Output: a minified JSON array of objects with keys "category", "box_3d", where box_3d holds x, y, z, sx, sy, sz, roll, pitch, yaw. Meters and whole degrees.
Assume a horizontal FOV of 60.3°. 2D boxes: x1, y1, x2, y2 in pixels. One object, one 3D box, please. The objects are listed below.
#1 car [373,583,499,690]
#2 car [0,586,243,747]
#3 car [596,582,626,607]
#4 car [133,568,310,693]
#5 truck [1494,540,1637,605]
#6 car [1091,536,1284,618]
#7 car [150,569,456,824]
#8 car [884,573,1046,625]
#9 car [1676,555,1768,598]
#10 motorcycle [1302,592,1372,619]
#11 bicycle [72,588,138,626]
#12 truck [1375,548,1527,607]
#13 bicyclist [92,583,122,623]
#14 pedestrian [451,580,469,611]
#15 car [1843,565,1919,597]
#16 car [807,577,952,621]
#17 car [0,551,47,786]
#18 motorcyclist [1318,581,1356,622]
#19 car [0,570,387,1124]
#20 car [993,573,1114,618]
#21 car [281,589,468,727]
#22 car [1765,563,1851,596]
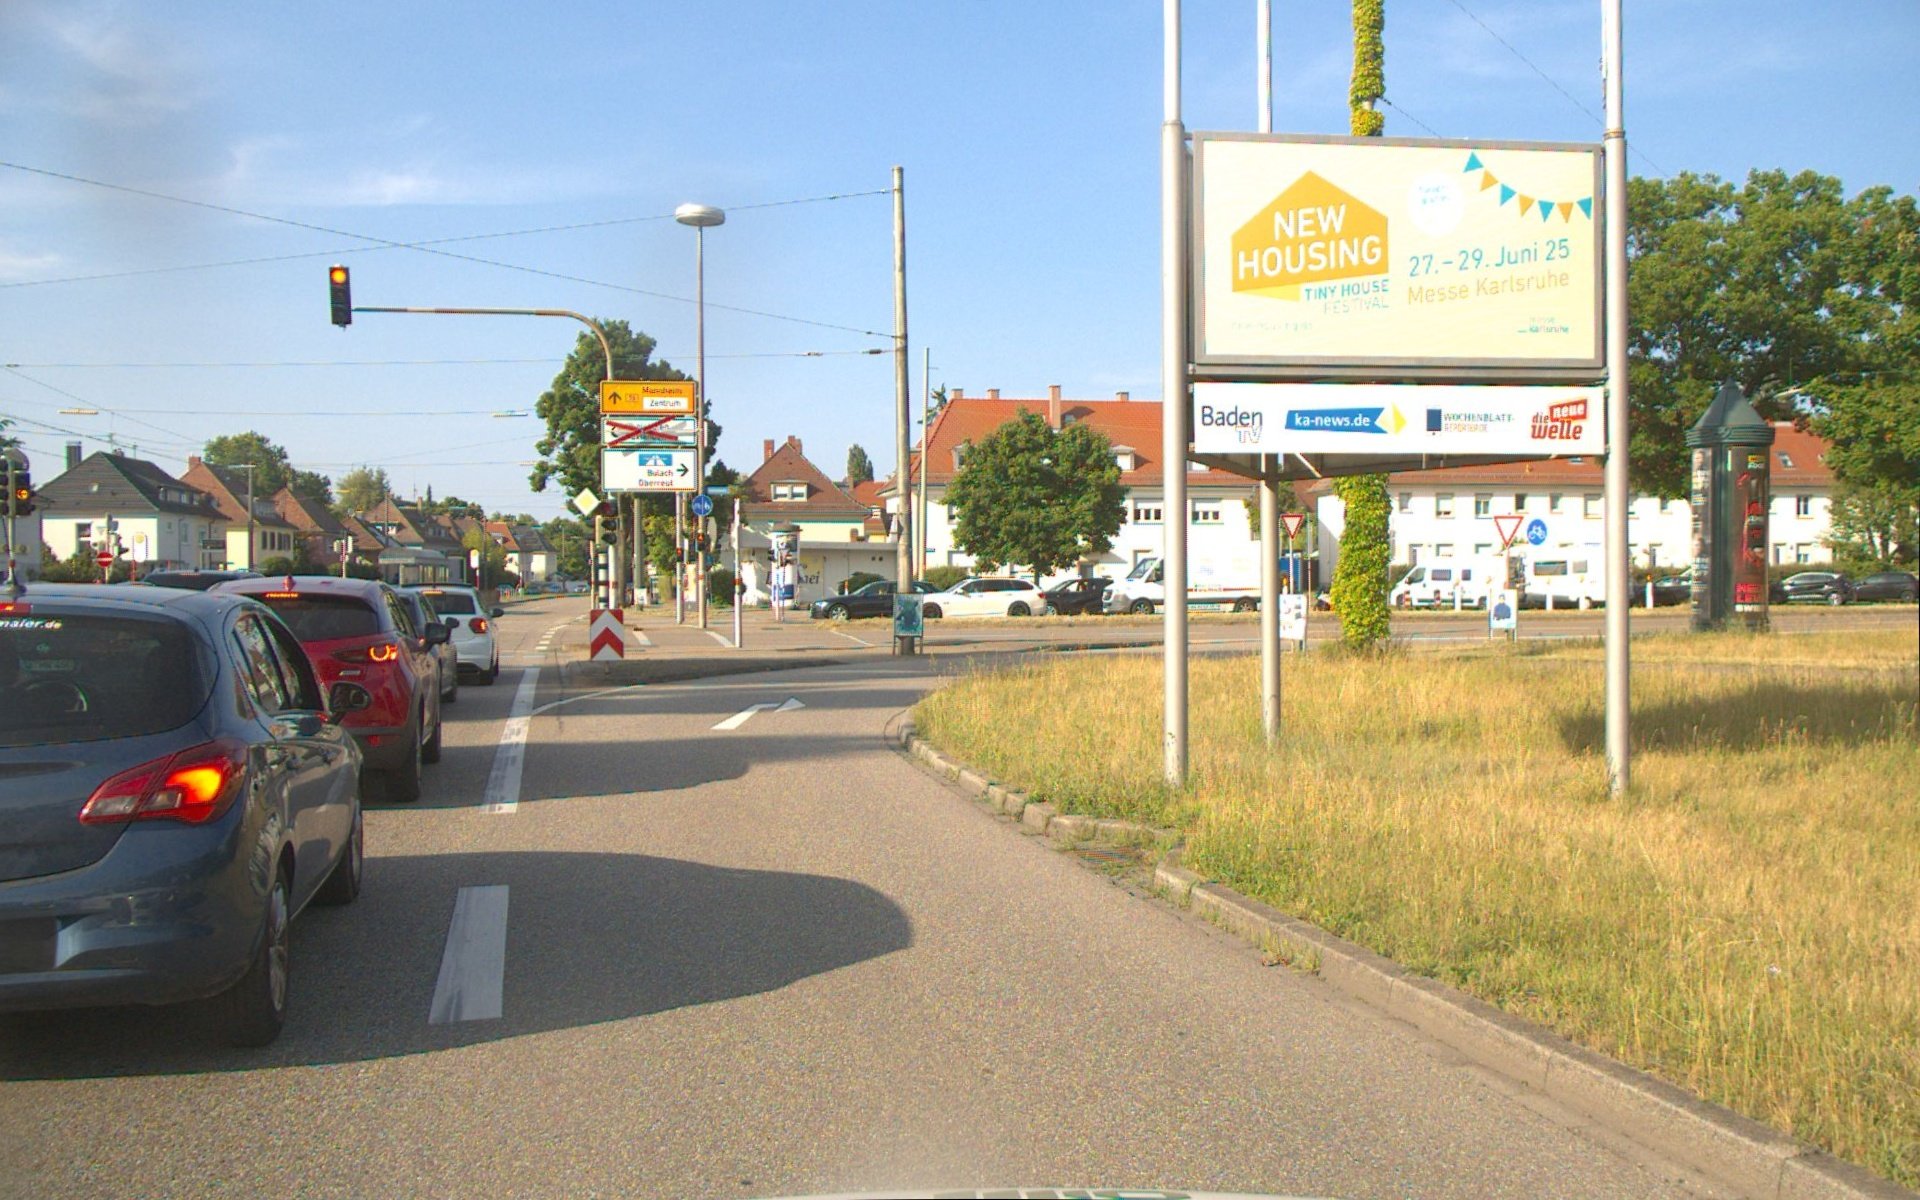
[{"category":"car","box_3d":[-7.990,0.494,25.476,1.629,1.468,3.998,-1,1,-15]},{"category":"car","box_3d":[-9.278,0.616,18.188,1.670,1.534,4.540,0,1,-12]},{"category":"car","box_3d":[-20.699,-0.299,98.093,1.645,1.422,3.988,1,0,-12]},{"category":"car","box_3d":[-11.033,0.389,25.006,1.480,1.680,4.729,-1,1,-12]},{"category":"truck","box_3d":[28.010,-1.247,76.626,5.948,2.904,1.892,-1,0,31]},{"category":"car","box_3d":[7.613,-0.780,55.454,6.100,2.628,1.994,-1,1,-13]},{"category":"car","box_3d":[-4.780,0.580,12.529,1.678,1.579,3.961,-1,1,-15]},{"category":"car","box_3d":[0.142,-0.047,53.682,5.005,1.590,1.834,-1,1,-12]},{"category":"car","box_3d":[36.667,-1.120,79.610,3.825,1.953,1.892,-1,1,32]},{"category":"motorcycle","box_3d":[12.740,0.190,55.904,2.232,0.881,0.688,-1,1,-14]},{"category":"bicycle","box_3d":[-31.730,0.275,61.422,2.045,1.371,1.101,1,-1,-22]},{"category":"truck","box_3d":[22.159,-1.049,74.832,6.246,2.568,2.263,1,1,43]},{"category":"bicyclist","box_3d":[-31.683,0.119,61.433,0.871,1.456,1.129,1,-1,-22]},{"category":"pedestrian","box_3d":[-24.689,-0.226,81.646,0.739,1.525,0.825,1,-1,-11]},{"category":"car","box_3d":[45.994,-0.957,82.328,3.363,1.540,1.889,-1,1,36]},{"category":"car","box_3d":[-2.778,-0.050,56.778,4.739,1.436,1.710,-1,1,-12]},{"category":"car","box_3d":[-7.583,0.509,10.998,1.735,1.700,4.067,0,1,-16]},{"category":"motorcyclist","box_3d":[12.742,0.051,55.899,1.047,1.375,0.677,-1,0,-14]},{"category":"car","box_3d":[-3.341,0.659,6.578,1.713,1.531,4.205,-1,1,-15]},{"category":"car","box_3d":[3.272,-0.165,58.046,3.917,1.478,1.711,-1,1,-12]},{"category":"car","box_3d":[-6.840,0.600,19.654,1.613,1.421,3.815,-1,1,-13]},{"category":"car","box_3d":[40.759,-0.988,79.501,3.429,1.540,1.889,-1,1,36]}]
